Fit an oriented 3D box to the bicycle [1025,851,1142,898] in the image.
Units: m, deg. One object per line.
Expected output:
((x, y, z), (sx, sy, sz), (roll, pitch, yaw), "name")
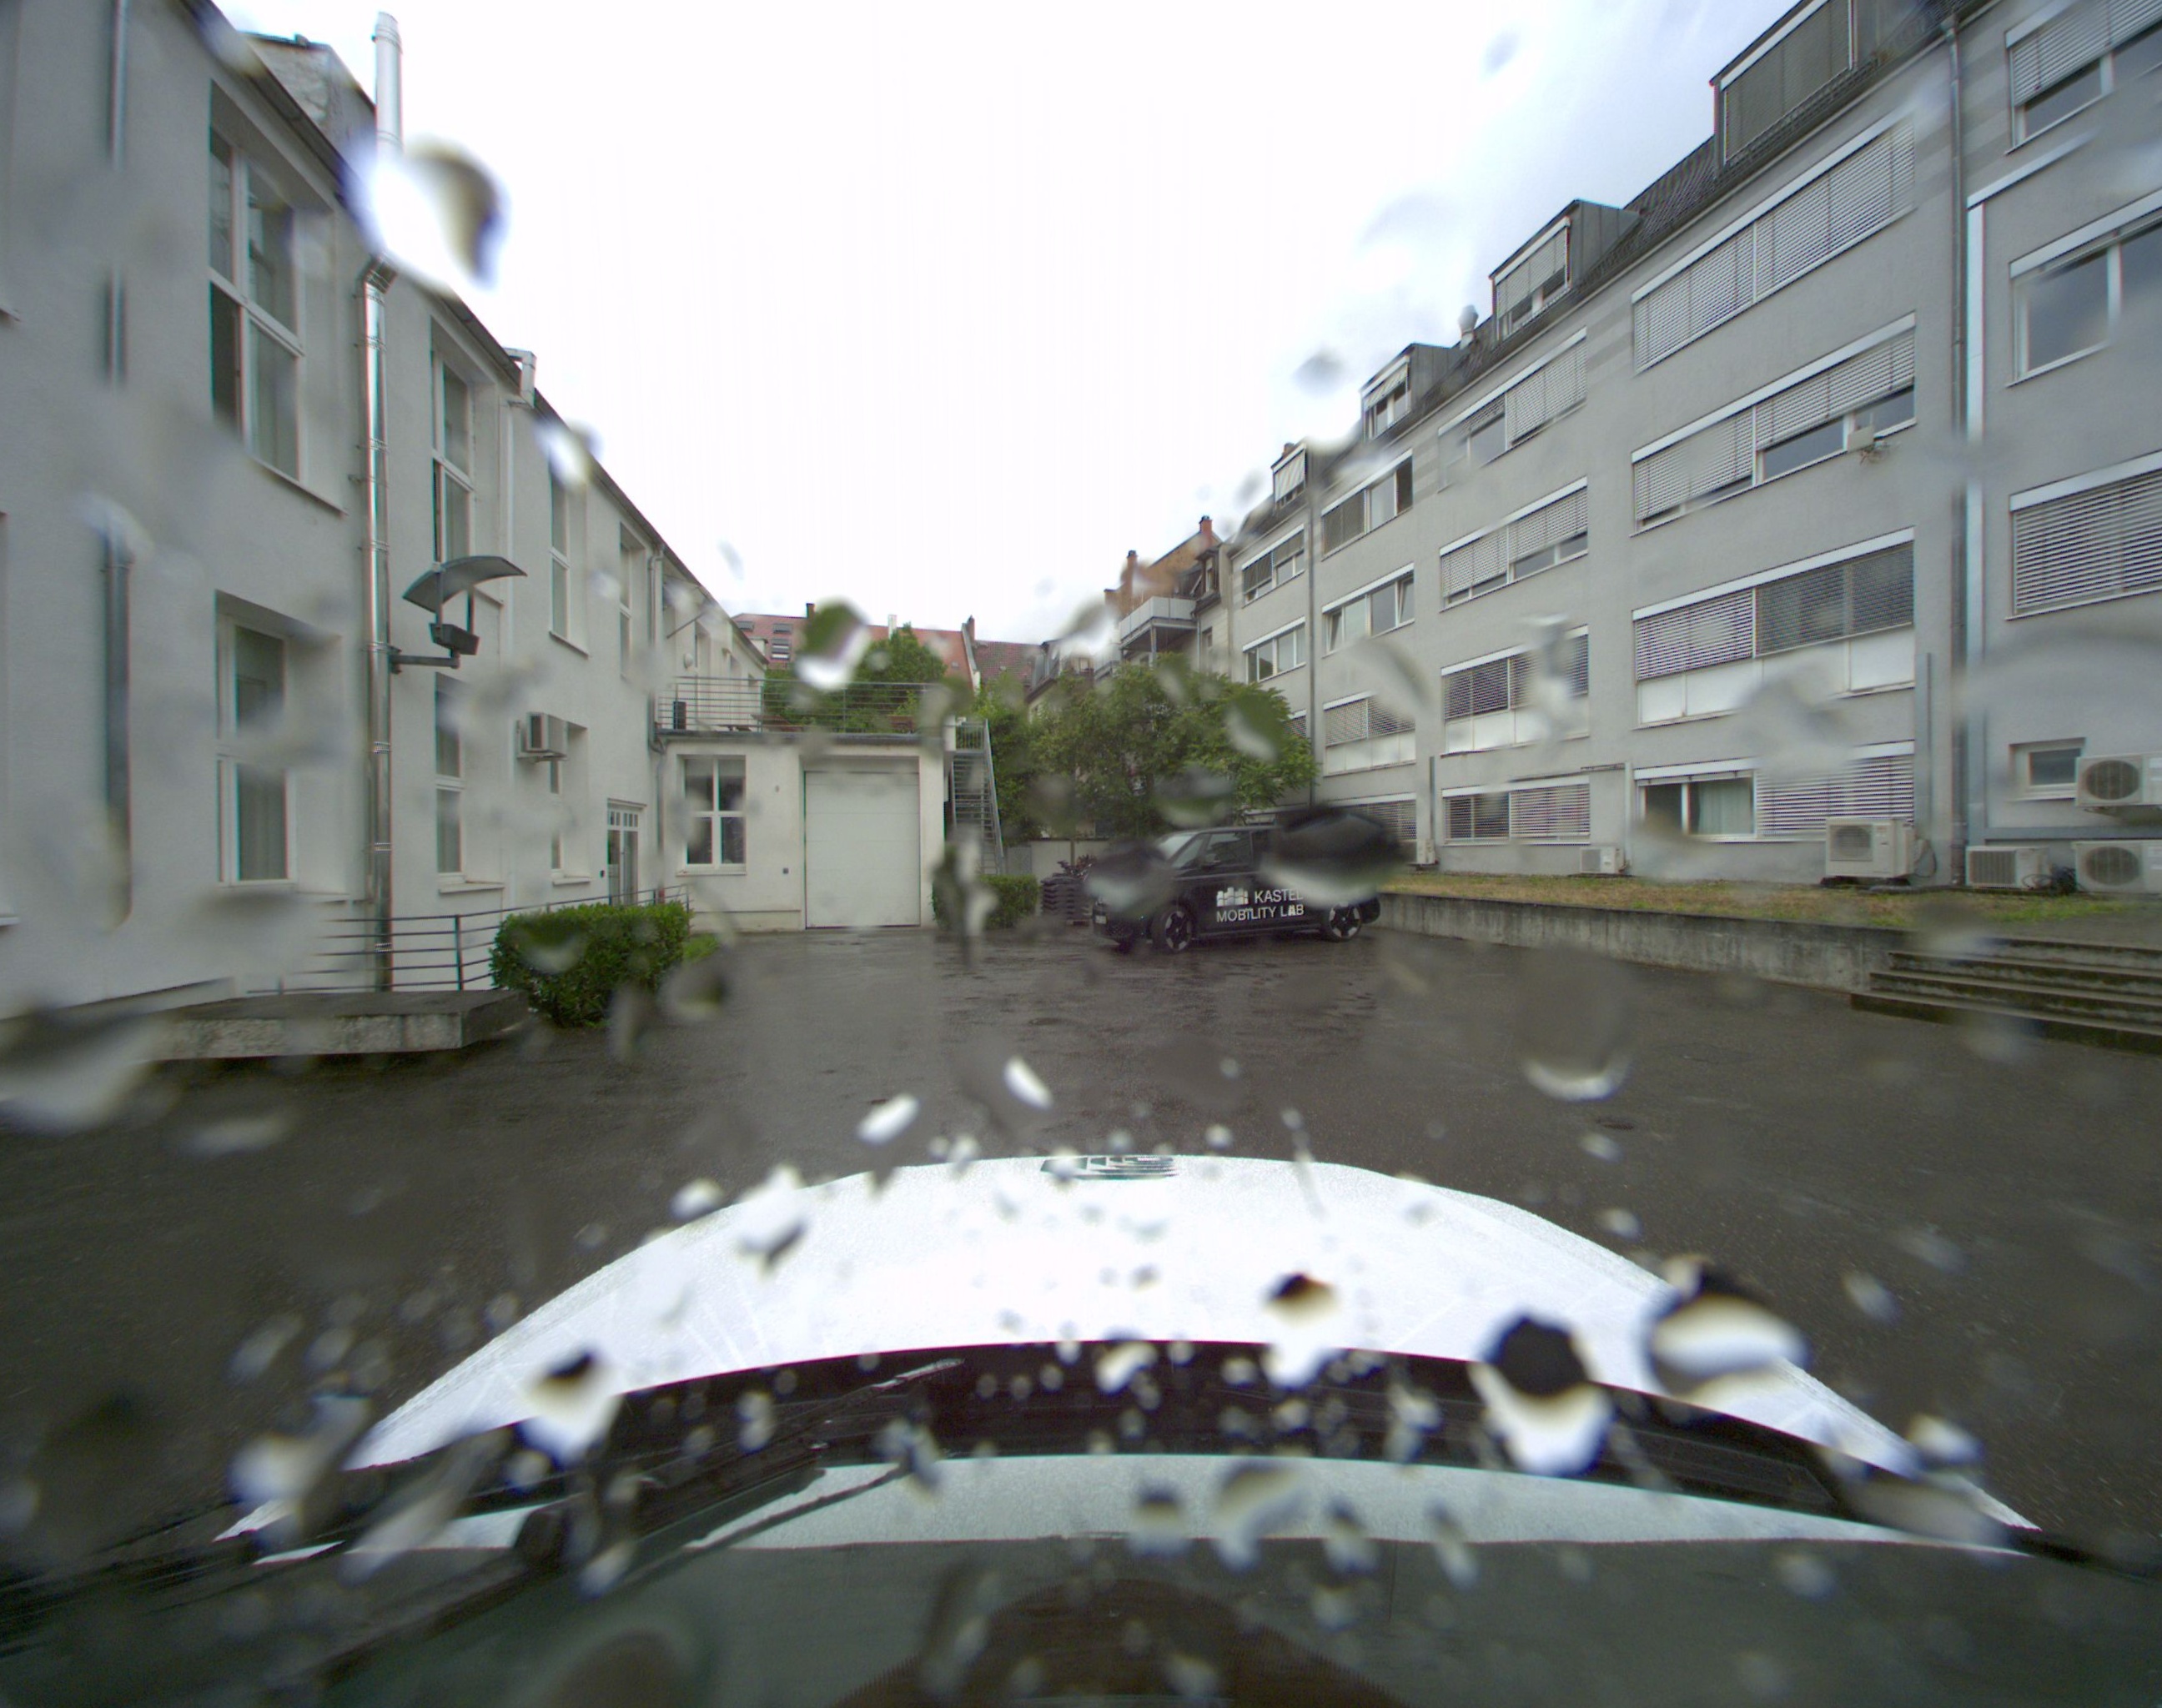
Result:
((0.072, 0.557, 22.966), (3.219, 1.242, 0.628), (-1, -1, -15), "bicycle")

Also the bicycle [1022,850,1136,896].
((-0.054, 0.546, 23.604), (3.219, 1.242, 0.628), (-1, -1, -15), "bicycle")

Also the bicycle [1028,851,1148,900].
((0.198, 0.568, 22.307), (3.219, 1.242, 0.628), (-1, -1, -15), "bicycle")

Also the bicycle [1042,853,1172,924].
((0.662, 0.845, 20.658), (3.219, 1.703, 0.628), (-1, -1, -15), "bicycle")

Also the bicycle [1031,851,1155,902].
((0.320, 0.579, 21.620), (3.219, 1.242, 0.628), (-1, -1, -15), "bicycle")

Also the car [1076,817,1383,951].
((2.382, 0.402, 13.276), (4.522, 1.897, 2.033), (-1, 0, -20), "car")
